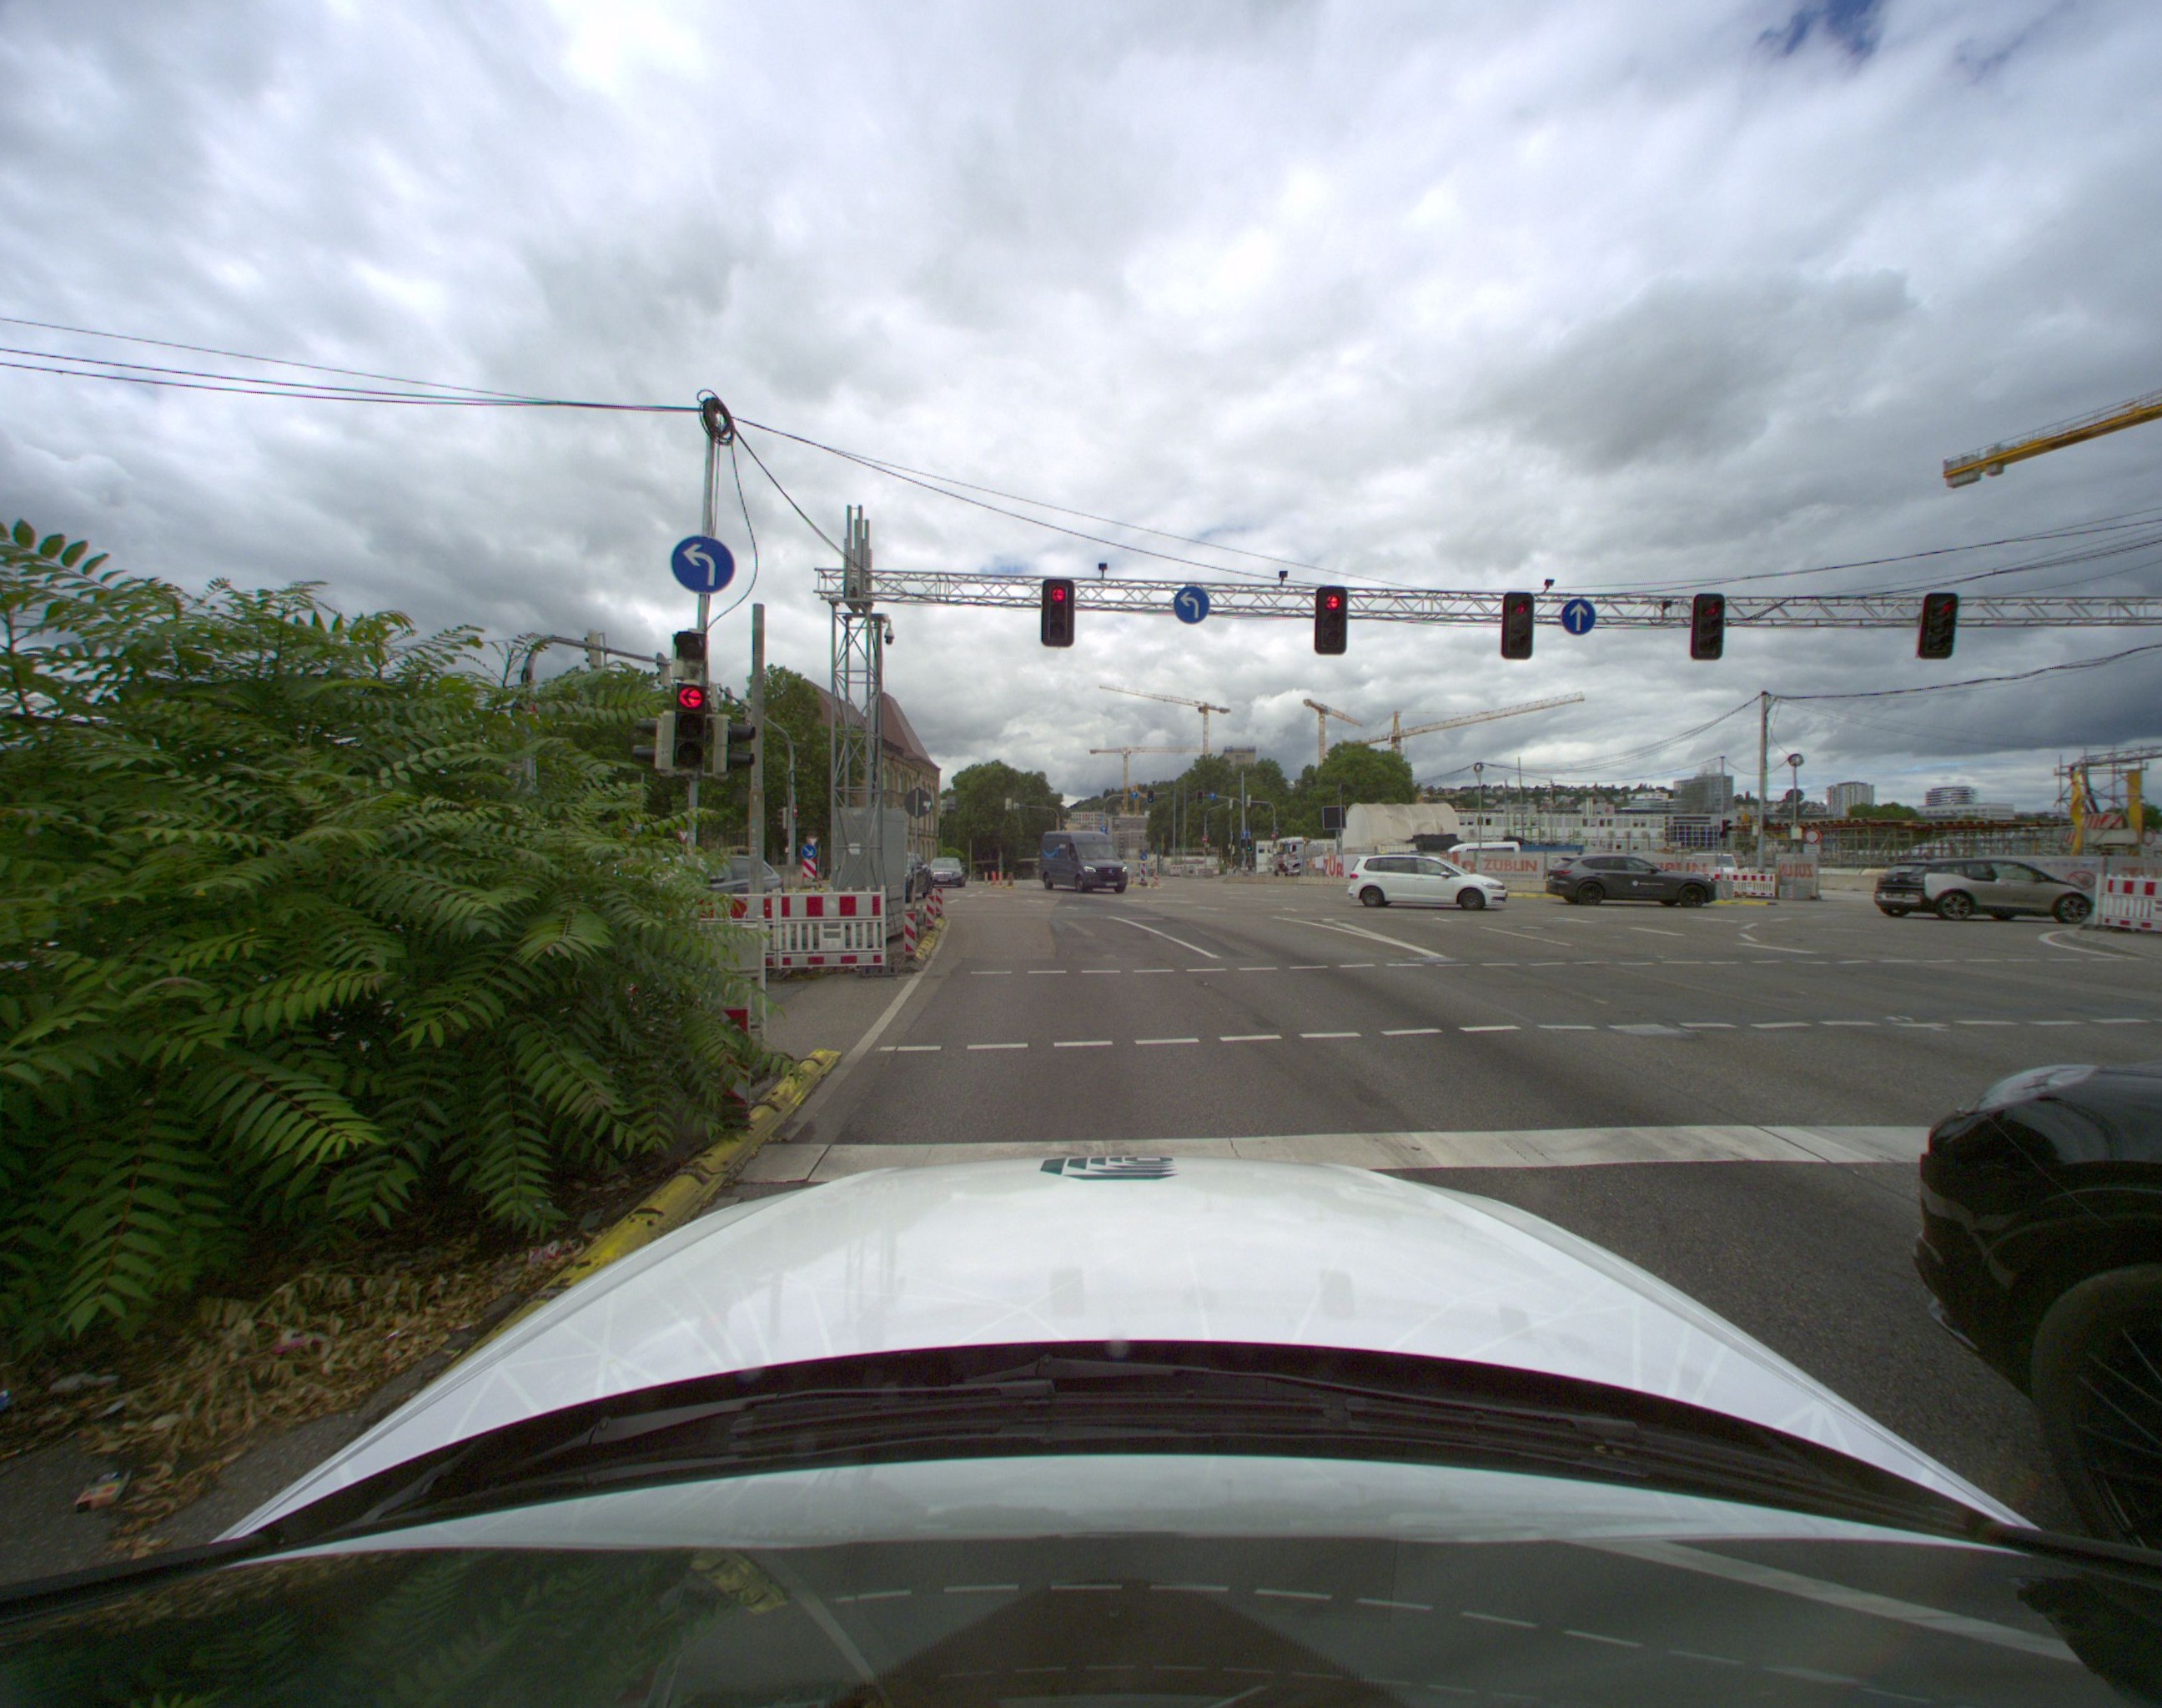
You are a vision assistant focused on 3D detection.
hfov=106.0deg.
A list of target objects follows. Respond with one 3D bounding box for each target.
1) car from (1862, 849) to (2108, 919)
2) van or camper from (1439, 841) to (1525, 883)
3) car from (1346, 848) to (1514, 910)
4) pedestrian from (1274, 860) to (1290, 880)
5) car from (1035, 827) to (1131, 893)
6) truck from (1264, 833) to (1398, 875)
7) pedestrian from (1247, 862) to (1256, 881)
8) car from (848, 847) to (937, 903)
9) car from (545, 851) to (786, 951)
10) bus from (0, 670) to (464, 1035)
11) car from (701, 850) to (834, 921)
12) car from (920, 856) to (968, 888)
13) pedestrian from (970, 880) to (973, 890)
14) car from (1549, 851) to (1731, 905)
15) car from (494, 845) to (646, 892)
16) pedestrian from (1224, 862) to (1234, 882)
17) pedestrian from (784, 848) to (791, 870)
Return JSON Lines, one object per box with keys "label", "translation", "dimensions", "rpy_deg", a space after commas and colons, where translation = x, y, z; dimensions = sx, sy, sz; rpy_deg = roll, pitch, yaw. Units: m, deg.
{"label": "car", "translation": [22.941, 0.730, 20.824], "dimensions": [4.030, 1.668, 1.804], "rpy_deg": [0, 0, 7]}
{"label": "van or camper", "translation": [23.158, 0.436, 47.200], "dimensions": [4.181, 2.357, 2.009], "rpy_deg": [0, 0, 16]}
{"label": "car", "translation": [10.499, 0.683, 24.633], "dimensions": [4.387, 1.736, 1.896], "rpy_deg": [0, 0, 34]}
{"label": "pedestrian", "translation": [14.348, 1.121, 58.188], "dimensions": [0.797, 1.378, 0.902], "rpy_deg": [0, 0, -10]}
{"label": "car", "translation": [-0.045, 0.226, 34.982], "dimensions": [2.065, 2.594, 5.970], "rpy_deg": [0, 0, -22]}
{"label": "truck", "translation": [25.053, -0.001, 81.586], "dimensions": [13.062, 4.041, 3.926], "rpy_deg": [0, 0, -18]}
{"label": "pedestrian", "translation": [15.115, 1.538, 72.101], "dimensions": [0.615, 1.689, 0.716], "rpy_deg": [0, 0, 31]}
{"label": "car", "translation": [-6.058, 0.623, 26.673], "dimensions": [1.872, 1.670, 4.444], "rpy_deg": [0, 0, 0]}
{"label": "car", "translation": [-6.973, 0.692, 14.309], "dimensions": [1.871, 1.472, 4.445], "rpy_deg": [0, 0, 1]}
{"label": "bus", "translation": [-10.634, -0.015, 7.257], "dimensions": [2.833, 3.114, 9.132], "rpy_deg": [0, 0, 4]}
{"label": "car", "translation": [-7.666, 0.710, 20.362], "dimensions": [1.702, 1.513, 4.286], "rpy_deg": [-2, 0, -2]}
{"label": "car", "translation": [-6.639, 0.842, 39.947], "dimensions": [1.701, 1.513, 4.286], "rpy_deg": [0, 0, -1]}
{"label": "pedestrian", "translation": [-21.431, 6.055, 159.216], "dimensions": [0.522, 2.014, 0.567], "rpy_deg": [0, 0, 2]}
{"label": "car", "translation": [18.112, 0.733, 26.635], "dimensions": [4.559, 1.670, 1.892], "rpy_deg": [0, 0, 16]}
{"label": "car", "translation": [-18.849, 0.513, 30.250], "dimensions": [4.315, 1.676, 1.992], "rpy_deg": [0, 0, -12]}
{"label": "pedestrian", "translation": [12.267, 1.480, 67.470], "dimensions": [0.726, 1.689, 0.678], "rpy_deg": [0, 0, 1]}
{"label": "pedestrian", "translation": [-26.743, 0.449, 74.164], "dimensions": [0.530, 2.014, 0.423], "rpy_deg": [1, -1, -42]}
